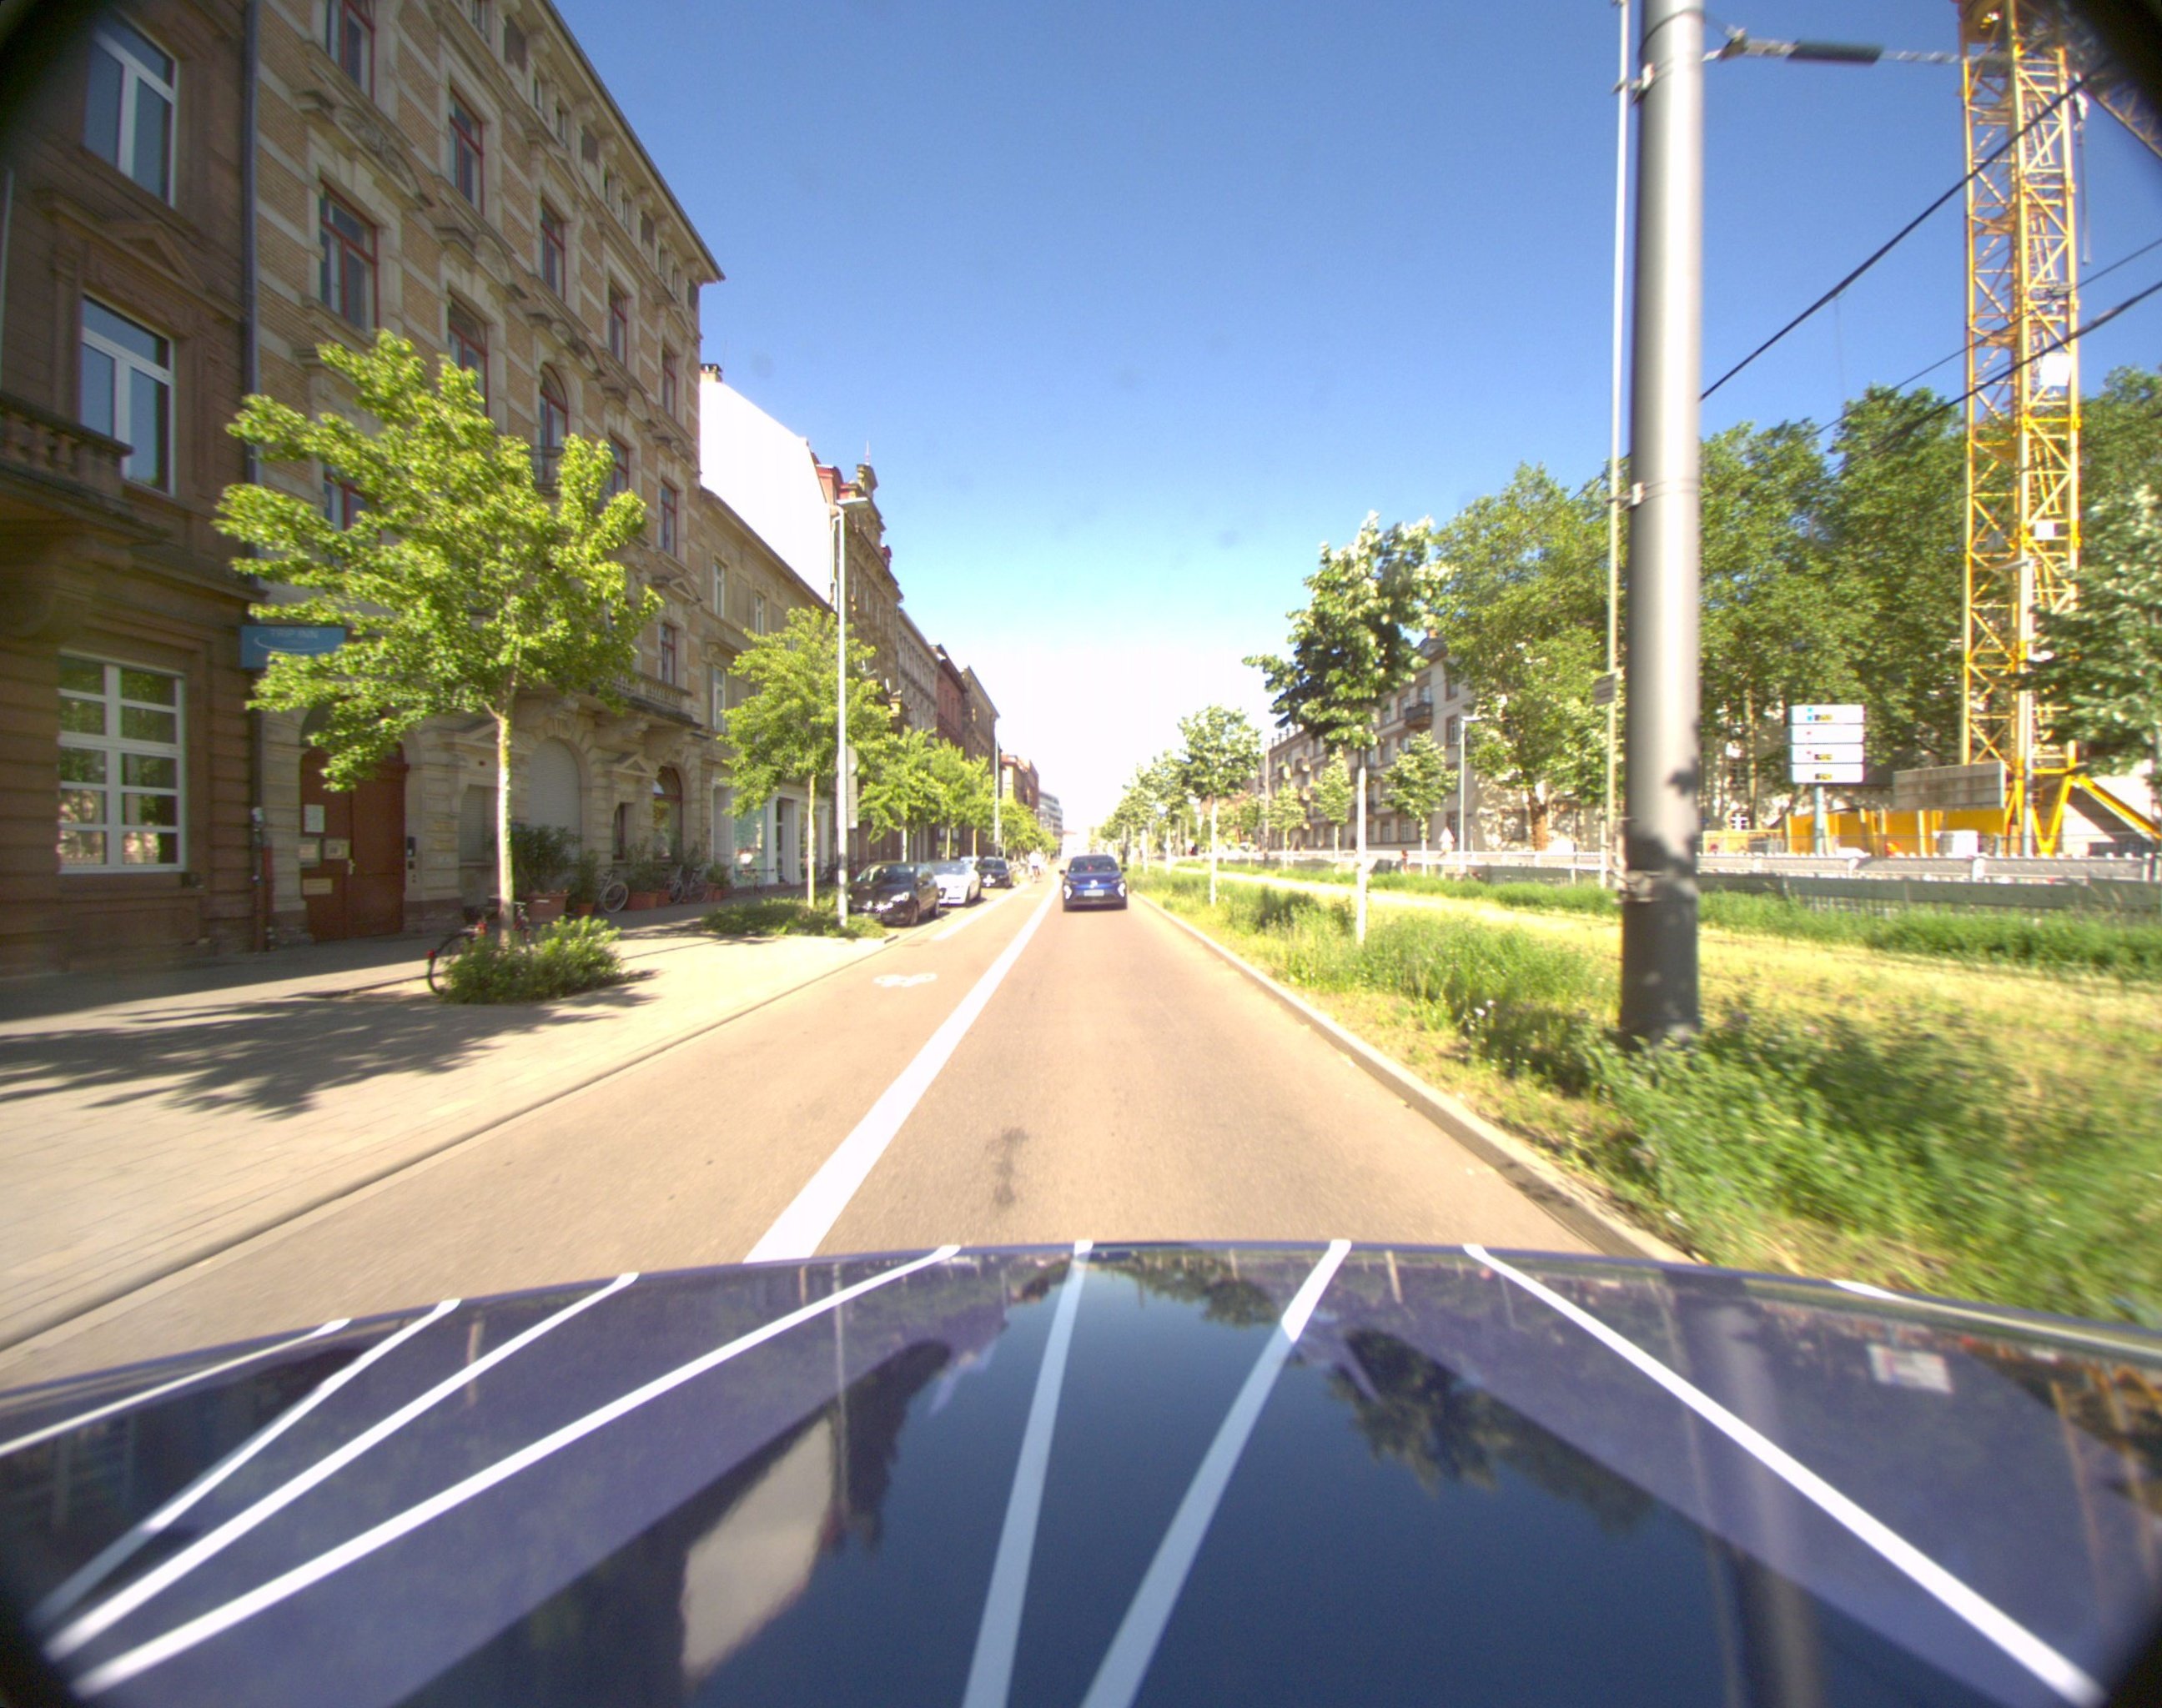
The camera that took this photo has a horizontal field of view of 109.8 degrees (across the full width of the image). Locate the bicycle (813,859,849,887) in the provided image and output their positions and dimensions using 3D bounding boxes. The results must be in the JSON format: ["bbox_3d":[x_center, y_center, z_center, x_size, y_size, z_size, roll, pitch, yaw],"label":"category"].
[{"bbox_3d":[-10.715,0.817,32.643,0.878,1.098,2.181,3,0,-3],"label":"bicycle"}]

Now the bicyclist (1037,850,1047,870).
[{"bbox_3d":[-3.169,0.511,61.544,0.725,1.595,0.895,-1,1,0],"label":"bicyclist"}]

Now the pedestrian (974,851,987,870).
[{"bbox_3d":[-8.396,0.516,63.665,0.953,1.557,1.080,1,0,0],"label":"pedestrian"}]

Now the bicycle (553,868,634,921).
[{"bbox_3d":[-10.955,0.880,17.165,0.482,1.084,2.056,1,0,0],"label":"bicycle"}]

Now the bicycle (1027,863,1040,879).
[{"bbox_3d":[-3.128,1.101,49.946,0.725,1.000,1.952,-1,0,-1],"label":"bicycle"}]

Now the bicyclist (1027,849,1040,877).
[{"bbox_3d":[-3.141,0.581,49.938,0.725,1.807,1.091,-1,1,0],"label":"bicyclist"}]

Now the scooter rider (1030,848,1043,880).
[{"bbox_3d":[-2.664,0.586,45.472,0.662,1.856,0.898,-1,1,2],"label":"scooter rider"}]

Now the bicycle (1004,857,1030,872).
[{"bbox_3d":[-5.149,0.839,61.082,1.980,1.117,0.481,3,0,-5],"label":"bicycle"}]

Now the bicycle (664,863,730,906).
[{"bbox_3d":[-10.832,0.832,21.509,0.723,1.084,2.198,1,0,0],"label":"bicycle"}]

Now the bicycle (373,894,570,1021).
[{"bbox_3d":[-6.801,1.093,8.658,0.652,1.113,2.171,1,1,-5],"label":"bicycle"}]

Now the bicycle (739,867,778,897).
[{"bbox_3d":[-11.045,0.945,26.059,0.448,0.939,2.012,-1,0,0],"label":"bicycle"}]

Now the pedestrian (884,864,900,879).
[{"bbox_3d":[-10.834,0.982,43.646,0.873,0.814,0.979,-2,1,-13],"label":"pedestrian"}]

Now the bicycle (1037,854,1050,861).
[{"bbox_3d":[-6.289,0.620,126.116,2.063,1.036,0.847,3,1,-1],"label":"bicycle"}]

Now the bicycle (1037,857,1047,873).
[{"bbox_3d":[-3.158,0.890,61.464,0.725,1.187,1.952,-1,0,0],"label":"bicycle"}]

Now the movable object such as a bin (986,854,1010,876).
[{"bbox_3d":[-5.553,0.735,50.834,1.274,1.454,1.645,-1,-2,5],"label":"movable object such as a bin"}]

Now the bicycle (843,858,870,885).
[{"bbox_3d":[-10.526,0.798,35.708,0.750,1.194,1.800,1,1,0],"label":"bicycle"}]

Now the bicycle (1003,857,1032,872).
[{"bbox_3d":[-5.240,0.871,62.919,2.293,1.096,0.485,2,1,-14],"label":"bicycle"}]

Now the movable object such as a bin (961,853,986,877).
[{"bbox_3d":[-7.155,0.716,50.666,1.377,1.487,1.749,2,1,1],"label":"movable object such as a bin"}]

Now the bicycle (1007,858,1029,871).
[{"bbox_3d":[-5.343,0.854,64.428,1.820,1.050,0.571,1,1,-5],"label":"bicycle"}]

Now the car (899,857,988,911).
[{"bbox_3d":[-4.412,0.914,25.246,1.956,1.486,5.104,2,1,0],"label":"car"}]

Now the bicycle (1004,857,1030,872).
[{"bbox_3d":[-5.154,0.830,61.490,2.050,1.100,0.610,3,1,-6],"label":"bicycle"}]

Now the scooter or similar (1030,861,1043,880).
[{"bbox_3d":[-2.661,0.981,45.506,0.647,1.151,1.150,-1,1,1],"label":"scooter or similar"}]

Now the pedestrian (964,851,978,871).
[{"bbox_3d":[-9.108,0.551,62.703,0.973,1.629,0.992,1,0,0],"label":"pedestrian"}]

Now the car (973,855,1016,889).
[{"bbox_3d":[-4.243,0.854,37.952,1.770,1.468,4.447,2,1,-2],"label":"car"}]

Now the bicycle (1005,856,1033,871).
[{"bbox_3d":[-5.100,0.796,62.573,2.154,1.148,0.429,3,0,-13],"label":"bicycle"}]

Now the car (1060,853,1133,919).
[{"bbox_3d":[0.391,0.795,21.325,1.758,1.576,4.420,-3,0,0],"label":"car"}]

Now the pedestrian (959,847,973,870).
[{"bbox_3d":[-9.826,0.373,65.097,0.891,1.909,1.098,2,1,5],"label":"pedestrian"}]

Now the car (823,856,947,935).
[{"bbox_3d":[-4.597,0.911,18.510,1.888,1.560,4.219,2,1,0],"label":"car"}]

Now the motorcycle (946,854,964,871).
[{"bbox_3d":[-10.125,0.655,61.157,0.868,1.259,2.981,-1,1,0],"label":"motorcycle"}]

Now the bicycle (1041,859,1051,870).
[{"bbox_3d":[-3.312,0.973,71.207,0.830,1.000,1.952,-1,0,0],"label":"bicycle"}]

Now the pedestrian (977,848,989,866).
[{"bbox_3d":[-9.302,0.243,72.055,0.972,1.682,1.114,2,1,2],"label":"pedestrian"}]

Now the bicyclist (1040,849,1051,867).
[{"bbox_3d":[-3.325,0.384,71.206,0.854,1.717,0.988,-1,1,0],"label":"bicyclist"}]

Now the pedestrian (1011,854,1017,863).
[{"bbox_3d":[-8.698,0.530,98.481,0.719,1.176,0.881,0,1,-1],"label":"pedestrian"}]
